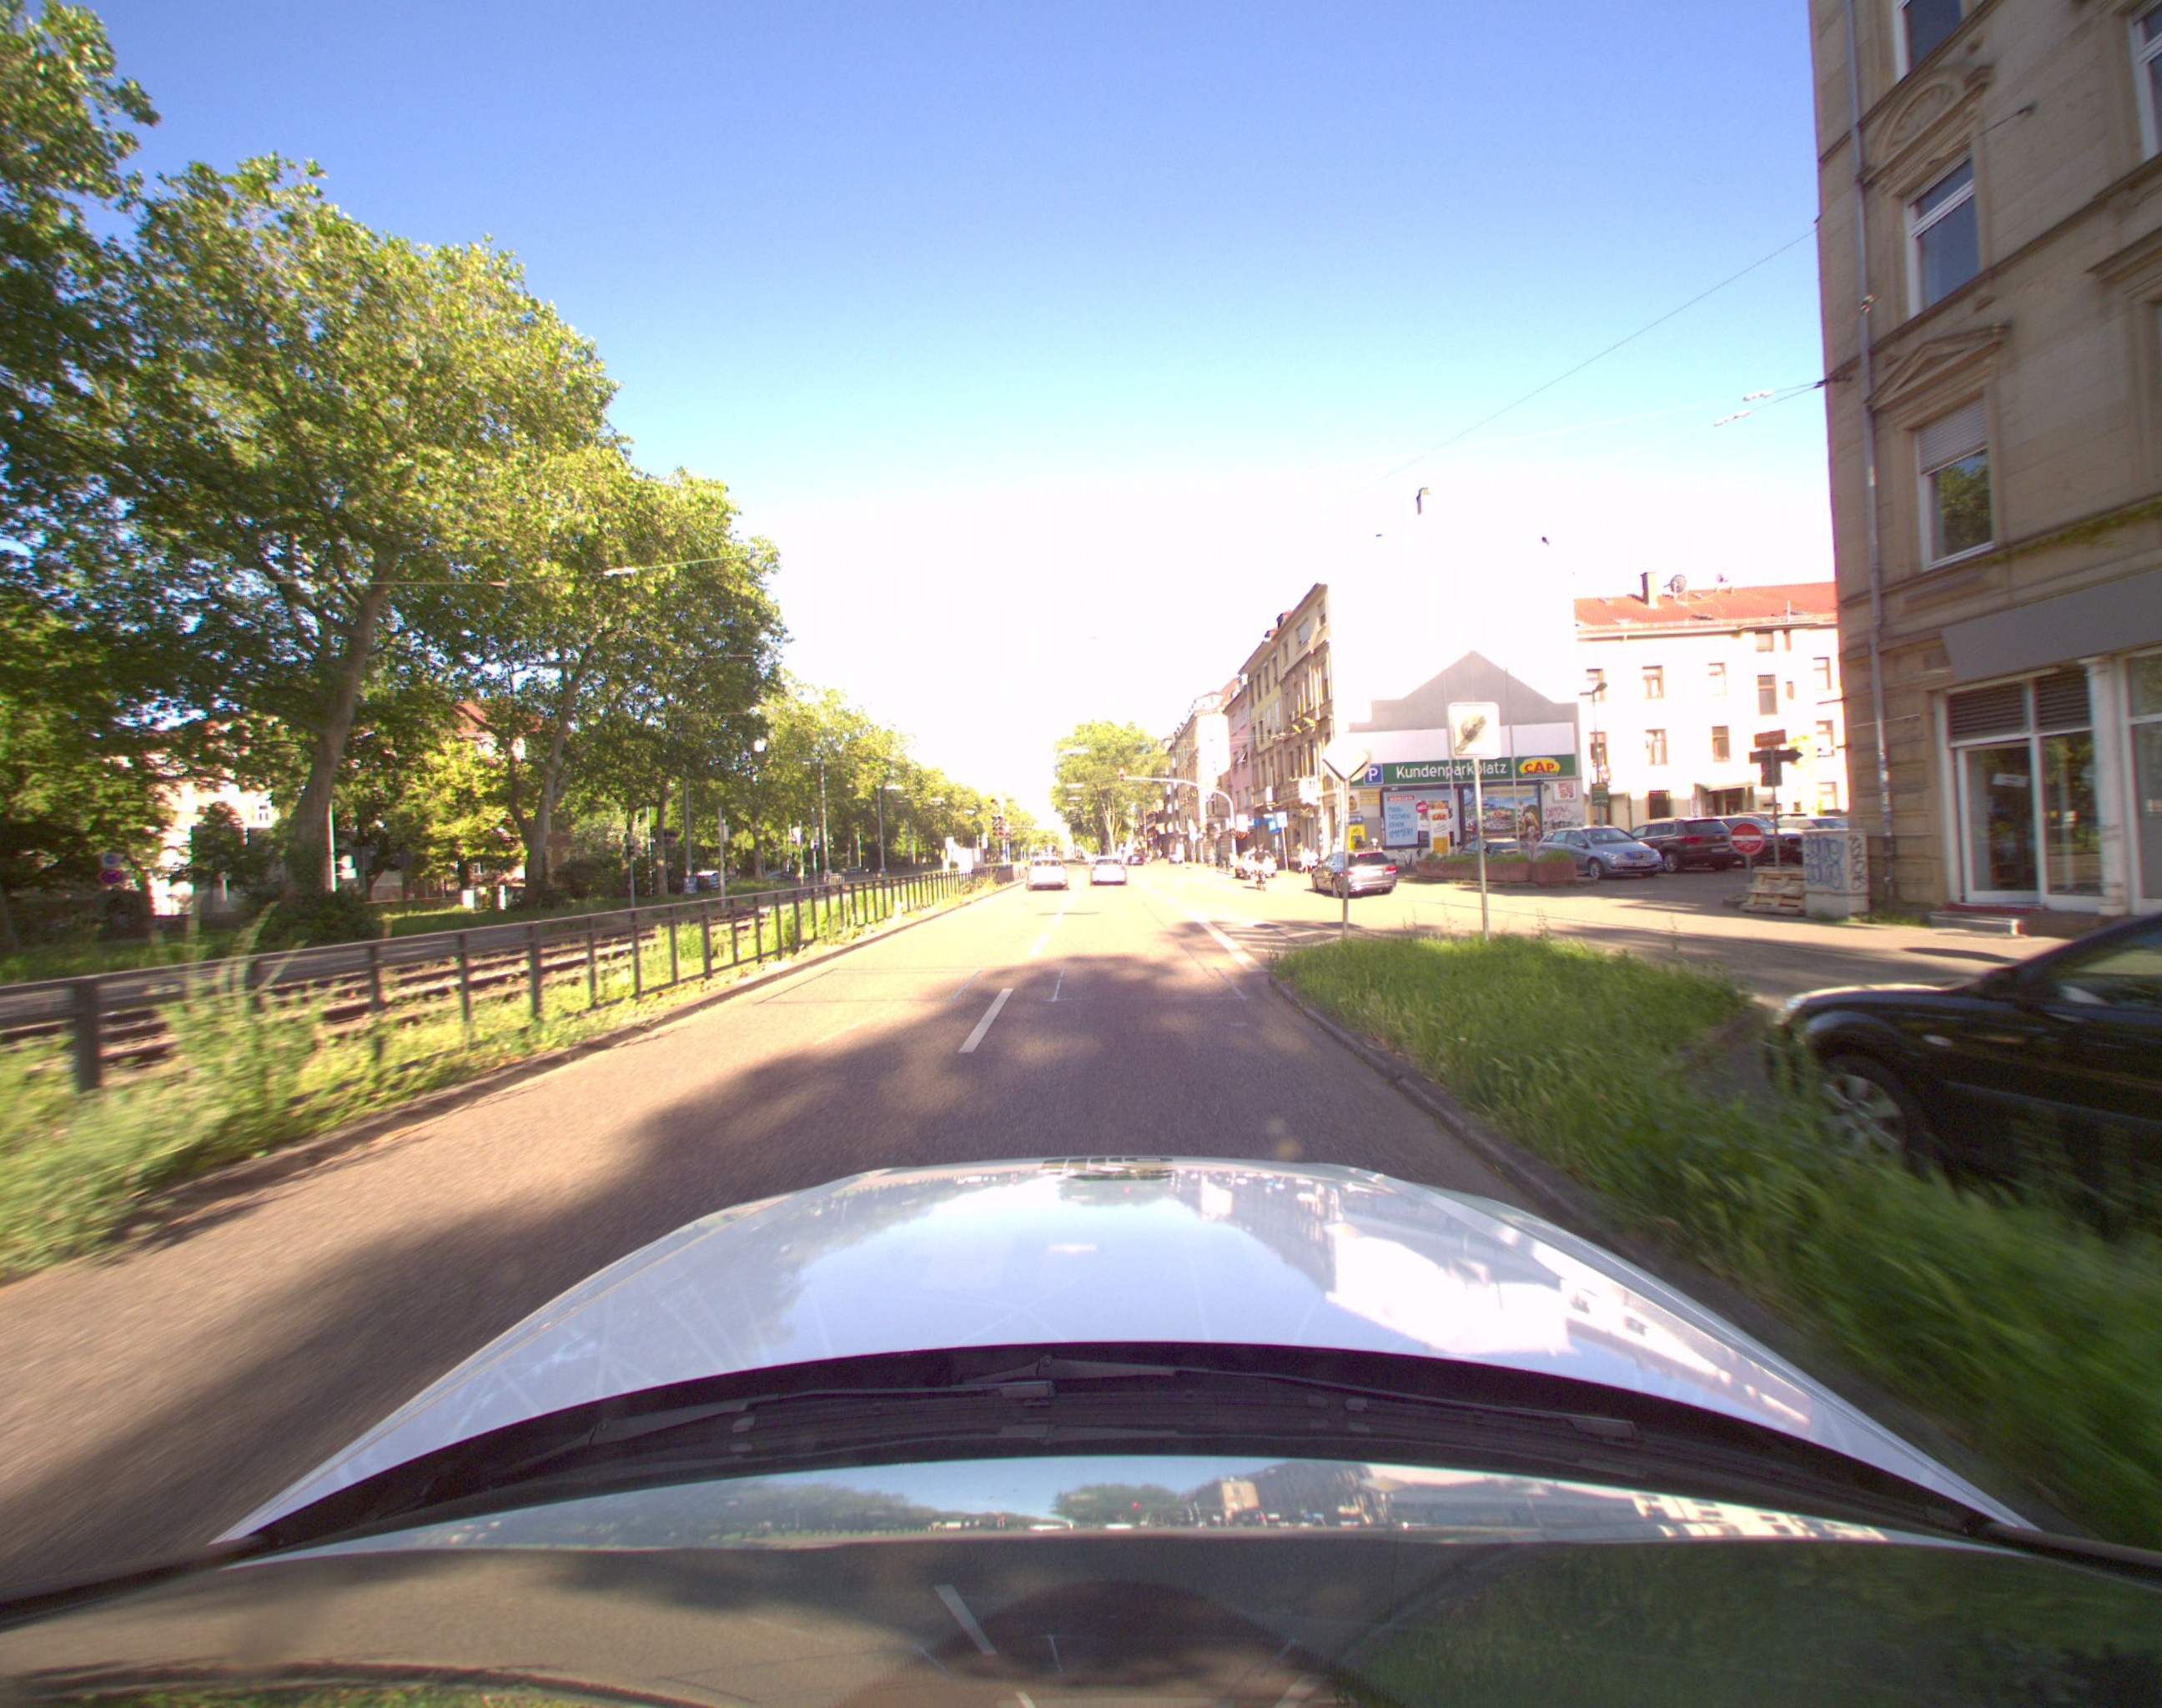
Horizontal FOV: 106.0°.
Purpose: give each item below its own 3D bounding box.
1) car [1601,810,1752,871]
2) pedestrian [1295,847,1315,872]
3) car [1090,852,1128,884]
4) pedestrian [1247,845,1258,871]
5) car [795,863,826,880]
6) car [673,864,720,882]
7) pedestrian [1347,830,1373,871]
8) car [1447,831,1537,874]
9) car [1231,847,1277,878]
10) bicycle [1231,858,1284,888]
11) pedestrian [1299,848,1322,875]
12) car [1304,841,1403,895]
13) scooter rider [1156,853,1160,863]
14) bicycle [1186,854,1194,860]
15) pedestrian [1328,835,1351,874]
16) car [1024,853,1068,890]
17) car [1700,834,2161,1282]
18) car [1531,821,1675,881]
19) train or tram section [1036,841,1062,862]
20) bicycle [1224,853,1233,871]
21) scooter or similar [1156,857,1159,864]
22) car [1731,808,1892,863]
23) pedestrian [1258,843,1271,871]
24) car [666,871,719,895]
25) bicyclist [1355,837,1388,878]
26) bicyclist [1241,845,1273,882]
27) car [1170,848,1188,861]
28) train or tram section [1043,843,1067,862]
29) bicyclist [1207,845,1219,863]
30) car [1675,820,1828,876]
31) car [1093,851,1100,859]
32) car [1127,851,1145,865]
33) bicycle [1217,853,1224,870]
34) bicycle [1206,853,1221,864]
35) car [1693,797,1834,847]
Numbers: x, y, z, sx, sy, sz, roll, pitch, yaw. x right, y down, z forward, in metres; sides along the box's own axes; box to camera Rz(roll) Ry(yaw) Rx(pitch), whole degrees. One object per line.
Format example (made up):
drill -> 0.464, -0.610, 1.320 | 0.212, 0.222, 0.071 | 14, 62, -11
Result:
car -> 18.615, -0.392, 25.718 | 1.740, 1.693, 3.998 | -3, 0, -1
pedestrian -> 11.647, 0.273, 42.363 | 0.795, 1.281, 0.608 | -3, 0, -1
car -> 1.360, 0.654, 40.119 | 1.734, 1.467, 4.001 | -1, 0, 1
pedestrian -> 11.415, 0.248, 54.249 | 0.547, 1.708, 0.389 | -3, 0, 4
car -> -26.975, 1.714, 81.240 | 1.664, 1.509, 4.145 | -2, 0, 0
car -> -37.816, 1.857, 80.158 | 3.968, 1.494, 1.395 | -3, 0, 5
pedestrian -> 12.966, -0.161, 37.810 | 0.762, 1.841, 0.743 | -3, 0, -18
car -> 15.559, -0.053, 30.995 | 1.554, 1.485, 3.392 | -2, 0, -2
car -> 8.994, 0.406, 42.666 | 1.557, 1.415, 4.005 | -6, 0, 2
bicycle -> 7.000, 0.768, 32.402 | 0.763, 1.102, 1.930 | -3, 0, -42
pedestrian -> 11.752, 0.375, 41.690 | 0.899, 1.281, 0.655 | -3, 0, -4
car -> 9.079, 0.425, 27.546 | 1.826, 1.487, 4.736 | -5, 0, 2
scooter rider -> 11.804, 0.623, 124.928 | 0.463, 1.505, 0.811 | -2, -2, 3
bicycle -> 12.934, 0.361, 96.701 | 0.752, 0.770, 1.945 | -2, 0, 0
pedestrian -> 11.962, 0.015, 37.710 | 0.762, 1.755, 0.510 | -3, 0, -19
car -> -1.588, 0.739, 35.599 | 1.607, 1.467, 3.881 | -2, 0, -6
car -> 4.475, 0.690, 2.816 | 1.635, 1.517, 3.999 | 0, 0, 0
car -> 15.965, -0.084, 25.196 | 1.740, 1.644, 3.997 | -3, 0, -2
train or tram section -> -6.252, -0.504, 163.339 | 3.954, 3.865, 17.495 | -2, 0, 2
bicycle -> 9.970, 0.547, 55.147 | 0.446, 1.159, 1.762 | -2, 0, 7
scooter or similar -> 11.712, 0.983, 125.070 | 0.336, 0.988, 1.285 | -2, 0, 4
car -> 22.984, -0.549, 25.827 | 1.536, 1.544, 3.938 | -3, 0, 0
pedestrian -> 12.162, 0.183, 54.069 | 0.670, 1.806, 0.531 | -3, 0, 1
car -> -27.335, 2.022, 57.385 | 1.664, 1.509, 4.145 | -3, 0, 0
bicyclist -> 10.847, 0.140, 30.439 | 0.674, 1.446, 1.182 | -6, 0, 2
bicyclist -> 6.984, 0.378, 32.373 | 0.751, 1.462, 0.940 | -1, -1, -42
car -> 11.424, 0.034, 94.798 | 1.729, 1.519, 3.637 | -1, 0, 1
train or tram section -> -5.610, -0.351, 180.743 | 3.990, 3.865, 17.495 | -2, 0, 2
bicyclist -> 11.356, -0.004, 70.133 | 0.541, 1.502, 0.967 | -3, 0, 43
car -> 20.926, -0.186, 25.649 | 1.537, 1.544, 3.937 | -3, 0, 0
car -> 4.508, 0.290, 237.565 | 1.986, 2.013, 4.002 | -2, 0, 2
car -> 6.074, 0.436, 90.584 | 1.730, 1.433, 3.678 | -1, 0, 0
bicycle -> 9.554, 0.508, 55.805 | 0.411, 1.141, 1.813 | -2, 0, 8
bicycle -> 11.405, 0.387, 70.163 | 0.646, 0.903, 1.346 | -2, 0, 43
car -> 26.096, -1.172, 31.358 | 1.748, 1.666, 4.384 | -3, 0, 1
